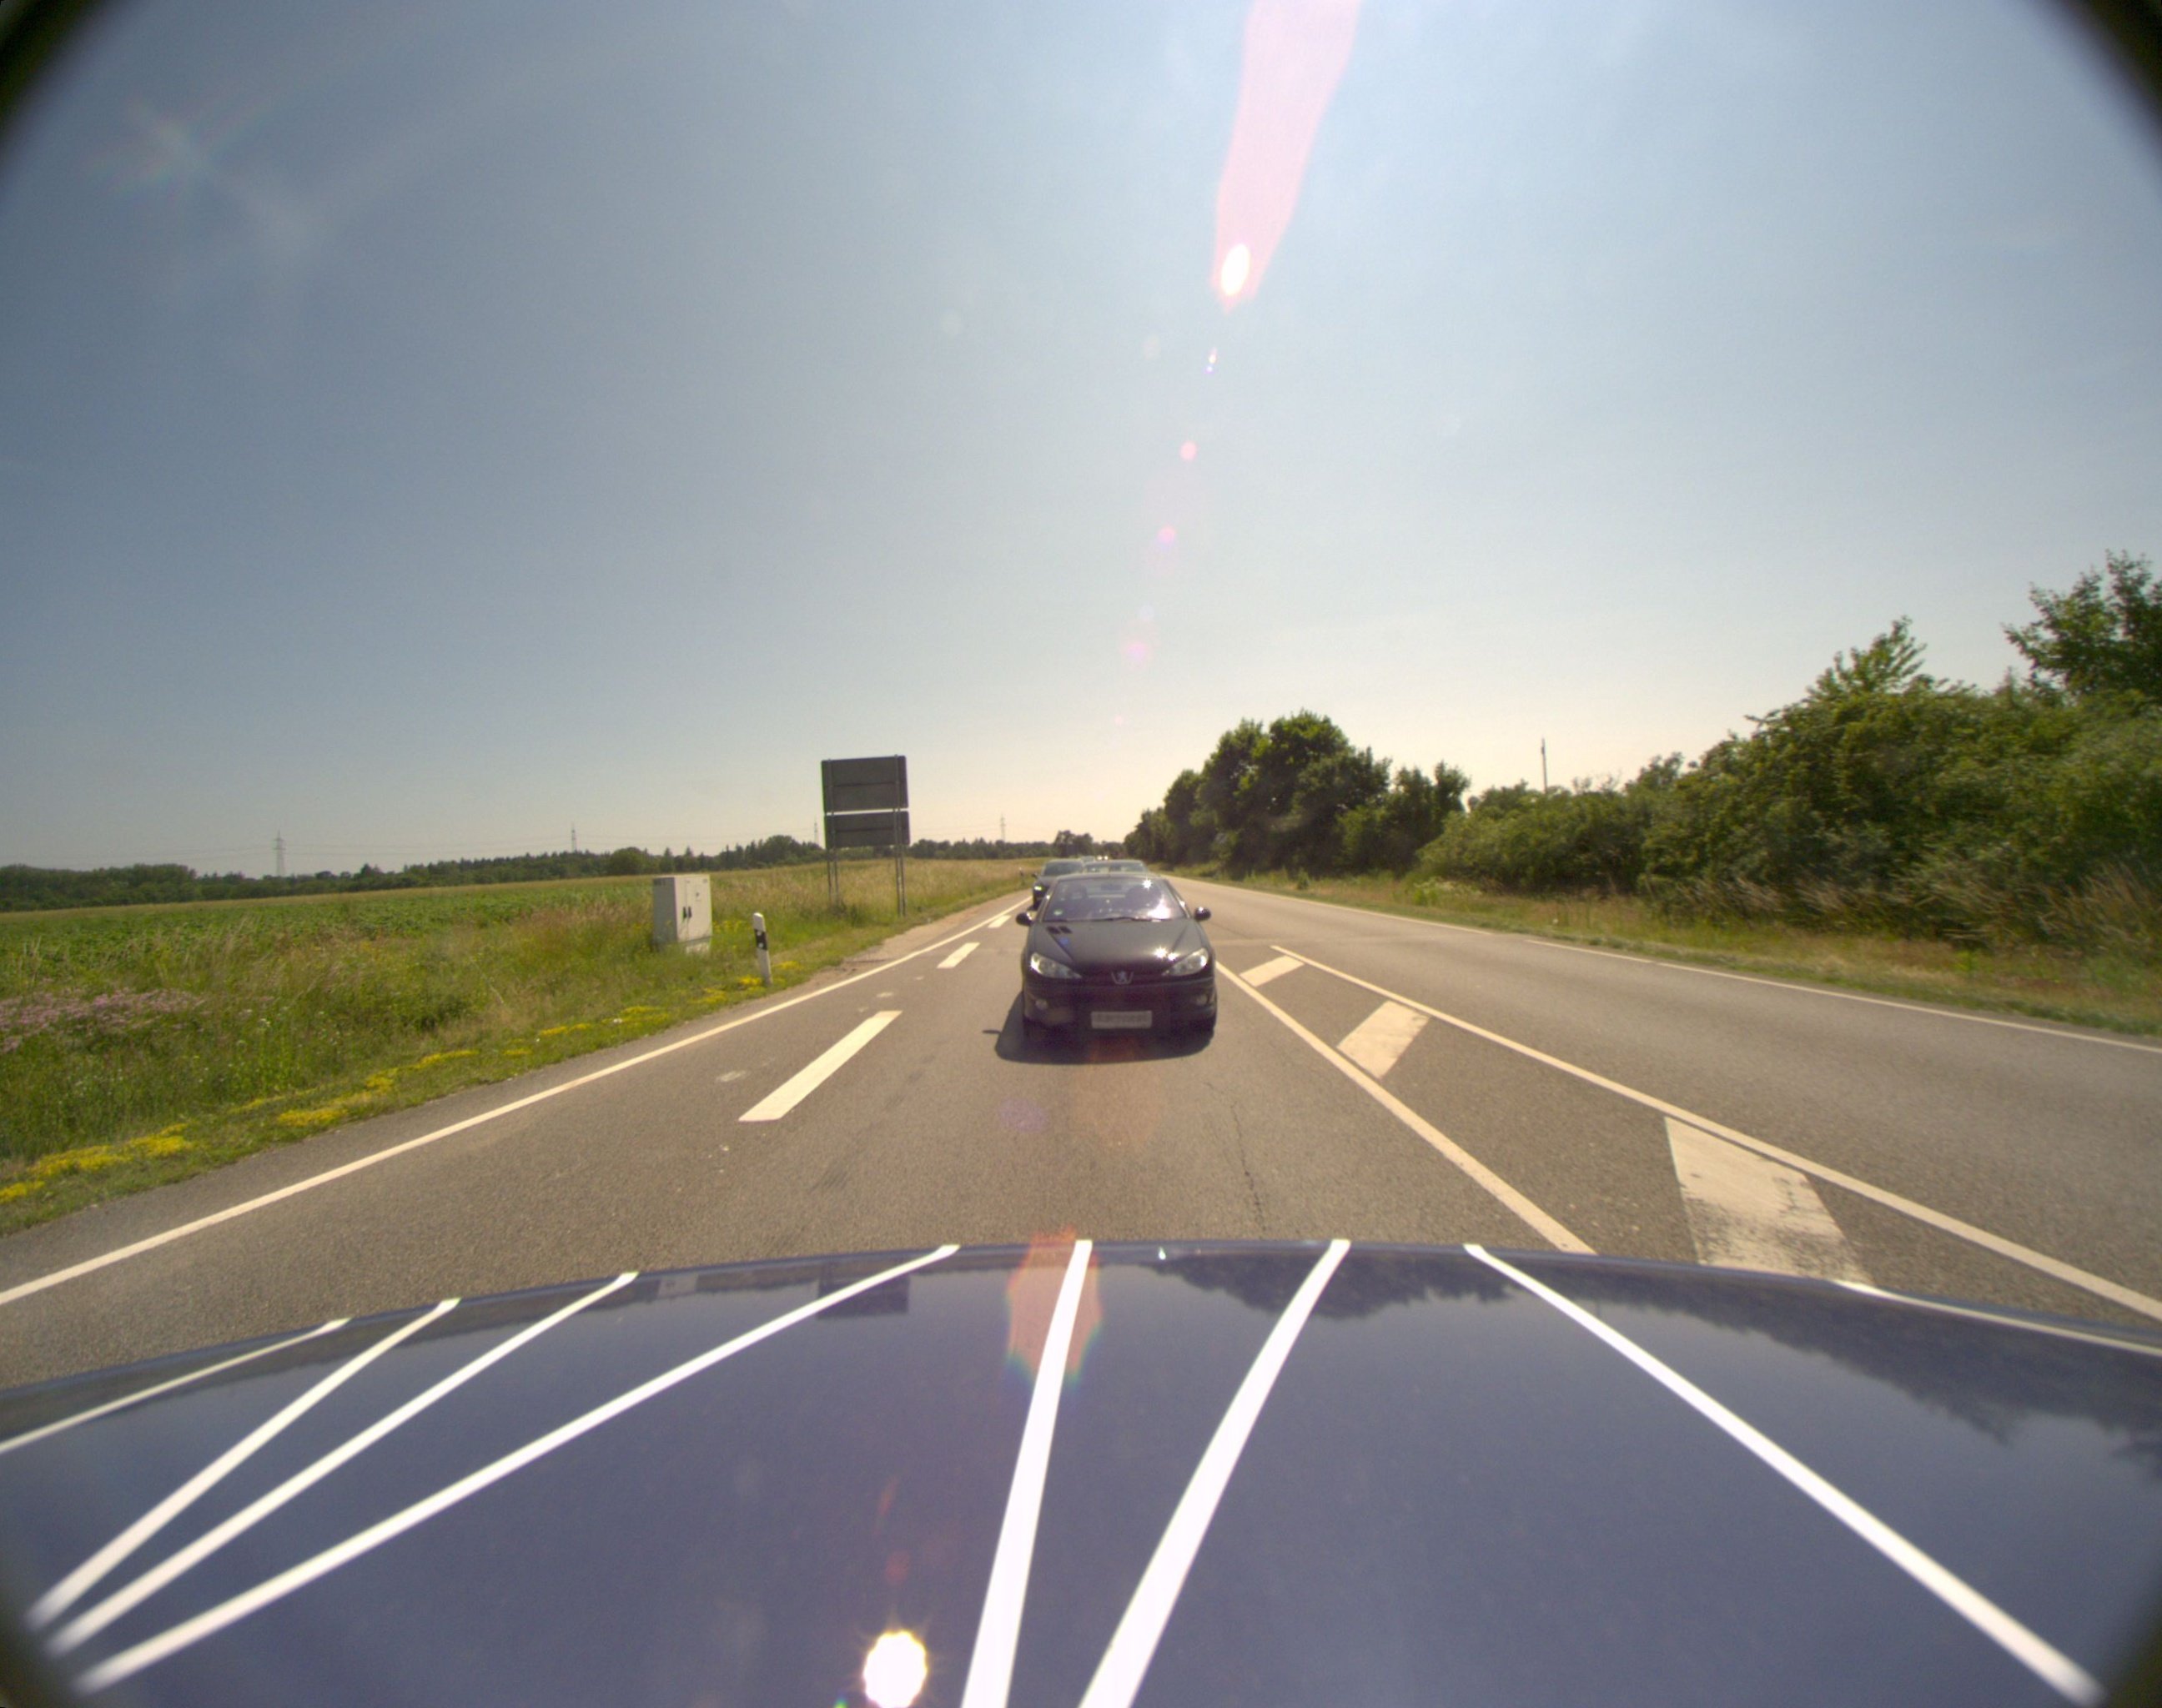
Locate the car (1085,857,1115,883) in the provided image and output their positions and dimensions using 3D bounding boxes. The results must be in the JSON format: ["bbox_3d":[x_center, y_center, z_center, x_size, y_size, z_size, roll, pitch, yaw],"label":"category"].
[{"bbox_3d":[1.057,0.891,43.327,1.588,1.294,3.631,-2,0,1],"label":"car"}]

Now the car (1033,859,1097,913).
[{"bbox_3d":[-0.434,0.936,24.051,1.665,1.449,4.174,-2,0,3],"label":"car"}]

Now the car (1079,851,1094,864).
[{"bbox_3d":[0.603,0.391,83.017,1.588,1.294,3.631,-2,0,1],"label":"car"}]

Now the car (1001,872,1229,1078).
[{"bbox_3d":[0.281,0.959,7.577,1.665,1.389,3.731,-2,0,1],"label":"car"}]

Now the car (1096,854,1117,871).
[{"bbox_3d":[2.005,0.689,61.634,1.588,1.294,3.631,-2,0,1],"label":"car"}]

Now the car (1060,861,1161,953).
[{"bbox_3d":[0.563,0.925,14.850,1.665,1.477,3.732,-2,0,2],"label":"car"}]
